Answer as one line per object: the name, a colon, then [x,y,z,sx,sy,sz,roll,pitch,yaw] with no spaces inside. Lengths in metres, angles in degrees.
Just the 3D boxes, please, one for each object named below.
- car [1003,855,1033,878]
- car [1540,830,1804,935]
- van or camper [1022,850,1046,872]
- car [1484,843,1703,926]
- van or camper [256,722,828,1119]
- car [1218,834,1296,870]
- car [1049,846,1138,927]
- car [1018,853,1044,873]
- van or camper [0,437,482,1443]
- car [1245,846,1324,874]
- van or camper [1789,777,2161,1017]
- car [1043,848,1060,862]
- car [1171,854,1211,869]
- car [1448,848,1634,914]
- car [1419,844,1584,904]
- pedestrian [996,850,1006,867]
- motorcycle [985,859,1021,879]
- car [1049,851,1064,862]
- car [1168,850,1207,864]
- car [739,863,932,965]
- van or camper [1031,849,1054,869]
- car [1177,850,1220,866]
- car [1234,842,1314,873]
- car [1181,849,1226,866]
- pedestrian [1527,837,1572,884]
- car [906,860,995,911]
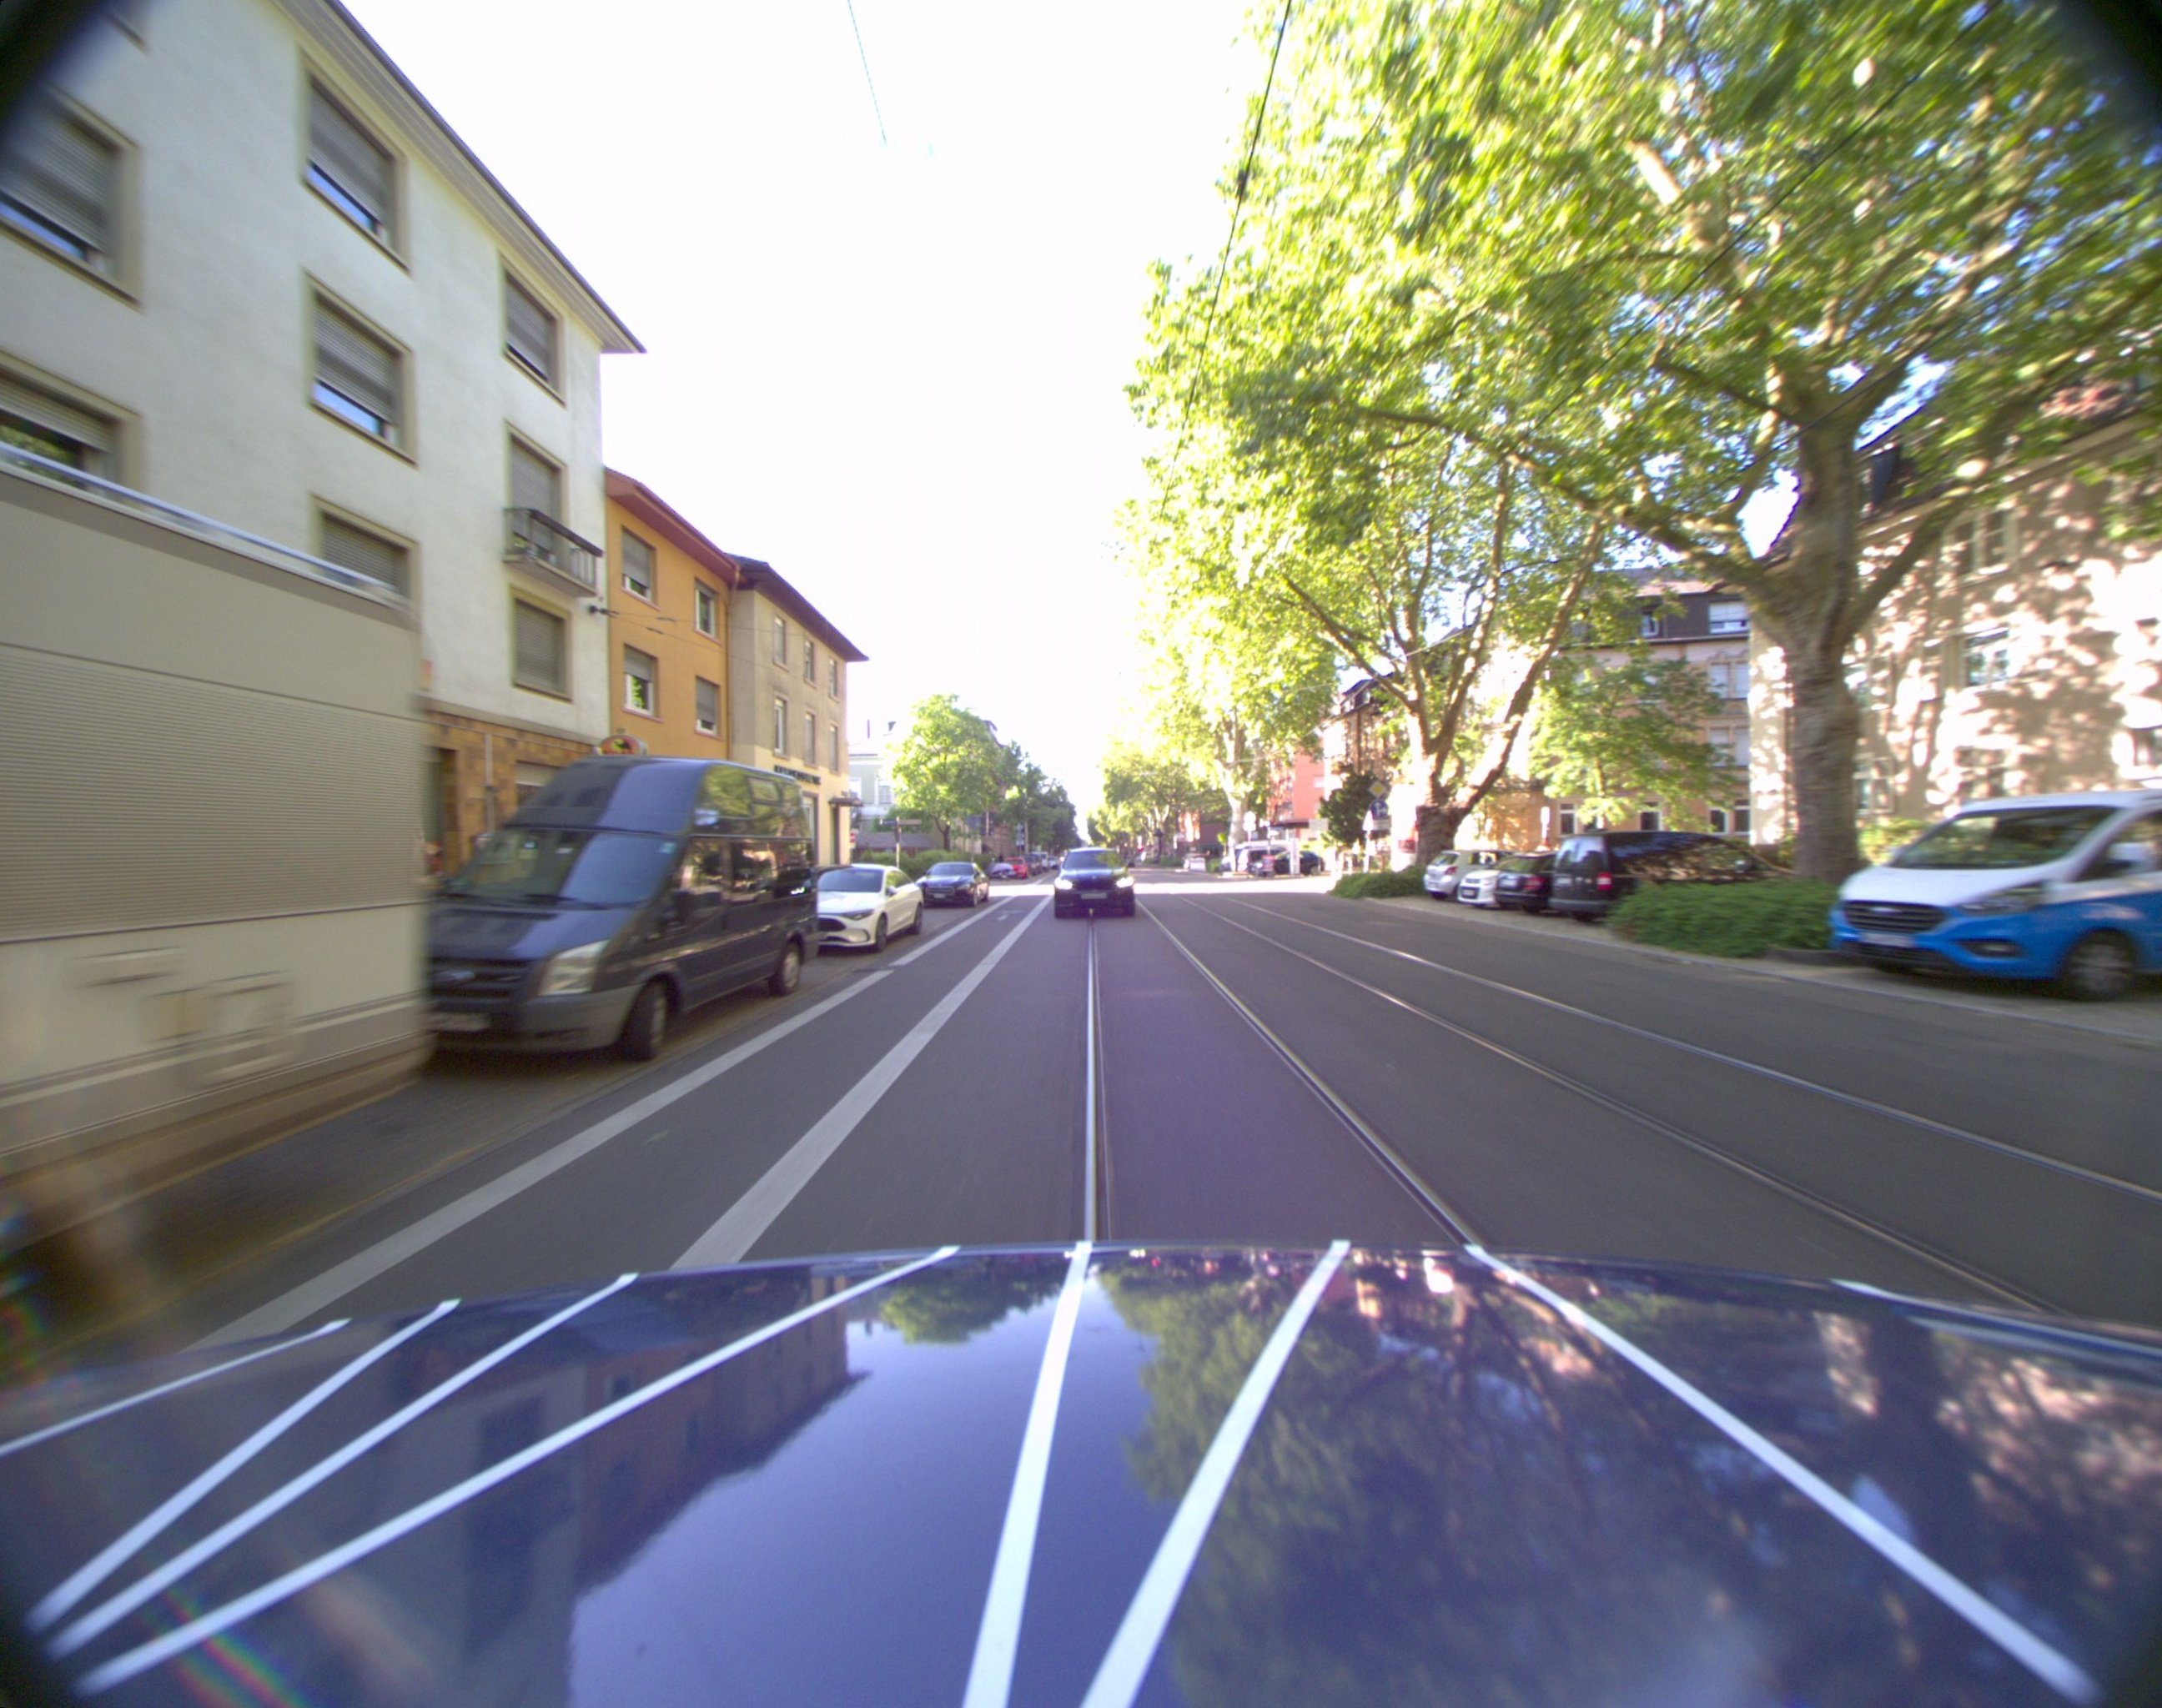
car: [-4.154,0.811,50.846,1.607,1.372,3.864,1,1,1]
car: [11.142,0.507,14.508,3.691,1.804,1.704,-2,1,0]
van or camper: [-3.998,0.550,64.820,1.694,1.772,4.443,1,1,1]
car: [11.263,0.630,16.859,3.692,1.615,1.799,-2,1,-4]
van or camper: [-4.479,0.435,7.621,2.137,2.648,4.979,1,1,1]
car: [12.434,-0.127,53.821,5.019,2.383,2.028,-2,0,-1]
car: [0.297,0.701,19.240,1.924,1.741,4.806,-2,0,1]
car: [-3.901,0.672,60.097,1.694,1.478,4.143,1,1,1]
van or camper: [-4.494,0.262,1.003,2.468,3.046,6.267,1,1,0]
car: [12.068,0.355,45.325,4.170,1.506,1.925,-2,0,-1]
van or camper: [10.933,0.349,8.075,4.832,2.177,2.119,-2,1,0]
car: [-3.507,0.100,90.254,1.815,1.702,4.372,1,1,1]
car: [11.687,0.803,80.639,3.966,1.506,1.810,-2,0,-1]
car: [11.429,0.632,19.001,3.693,1.477,1.701,-2,1,-6]
car: [11.762,0.538,21.440,3.689,1.545,1.704,-2,1,6]
pedestrian: [-7.754,0.435,73.862,0.813,1.669,0.885,-2,1,1]
motorcycle: [-4.858,0.939,47.342,2.071,1.152,0.828,2,1,4]
car: [-3.370,0.326,104.683,1.781,1.490,4.372,1,1,1]
car: [11.682,0.331,83.253,3.966,1.506,1.810,-2,0,-1]
car: [-4.343,0.981,14.378,1.998,1.485,4.739,1,0,1]
van or camper: [-3.742,0.468,74.615,1.882,1.873,4.922,1,1,1]
car: [11.800,0.430,76.375,3.966,1.506,1.810,-2,0,-1]
car: [12.141,0.230,47.976,4.464,1.755,2.028,-2,0,-1]
car: [11.737,0.381,72.905,3.966,1.506,1.810,-2,0,-1]
pedestrian: [15.976,0.216,25.948,1.093,1.568,1.028,-2,1,19]
car: [-4.088,0.945,24.660,1.998,1.372,4.739,1,0,1]
